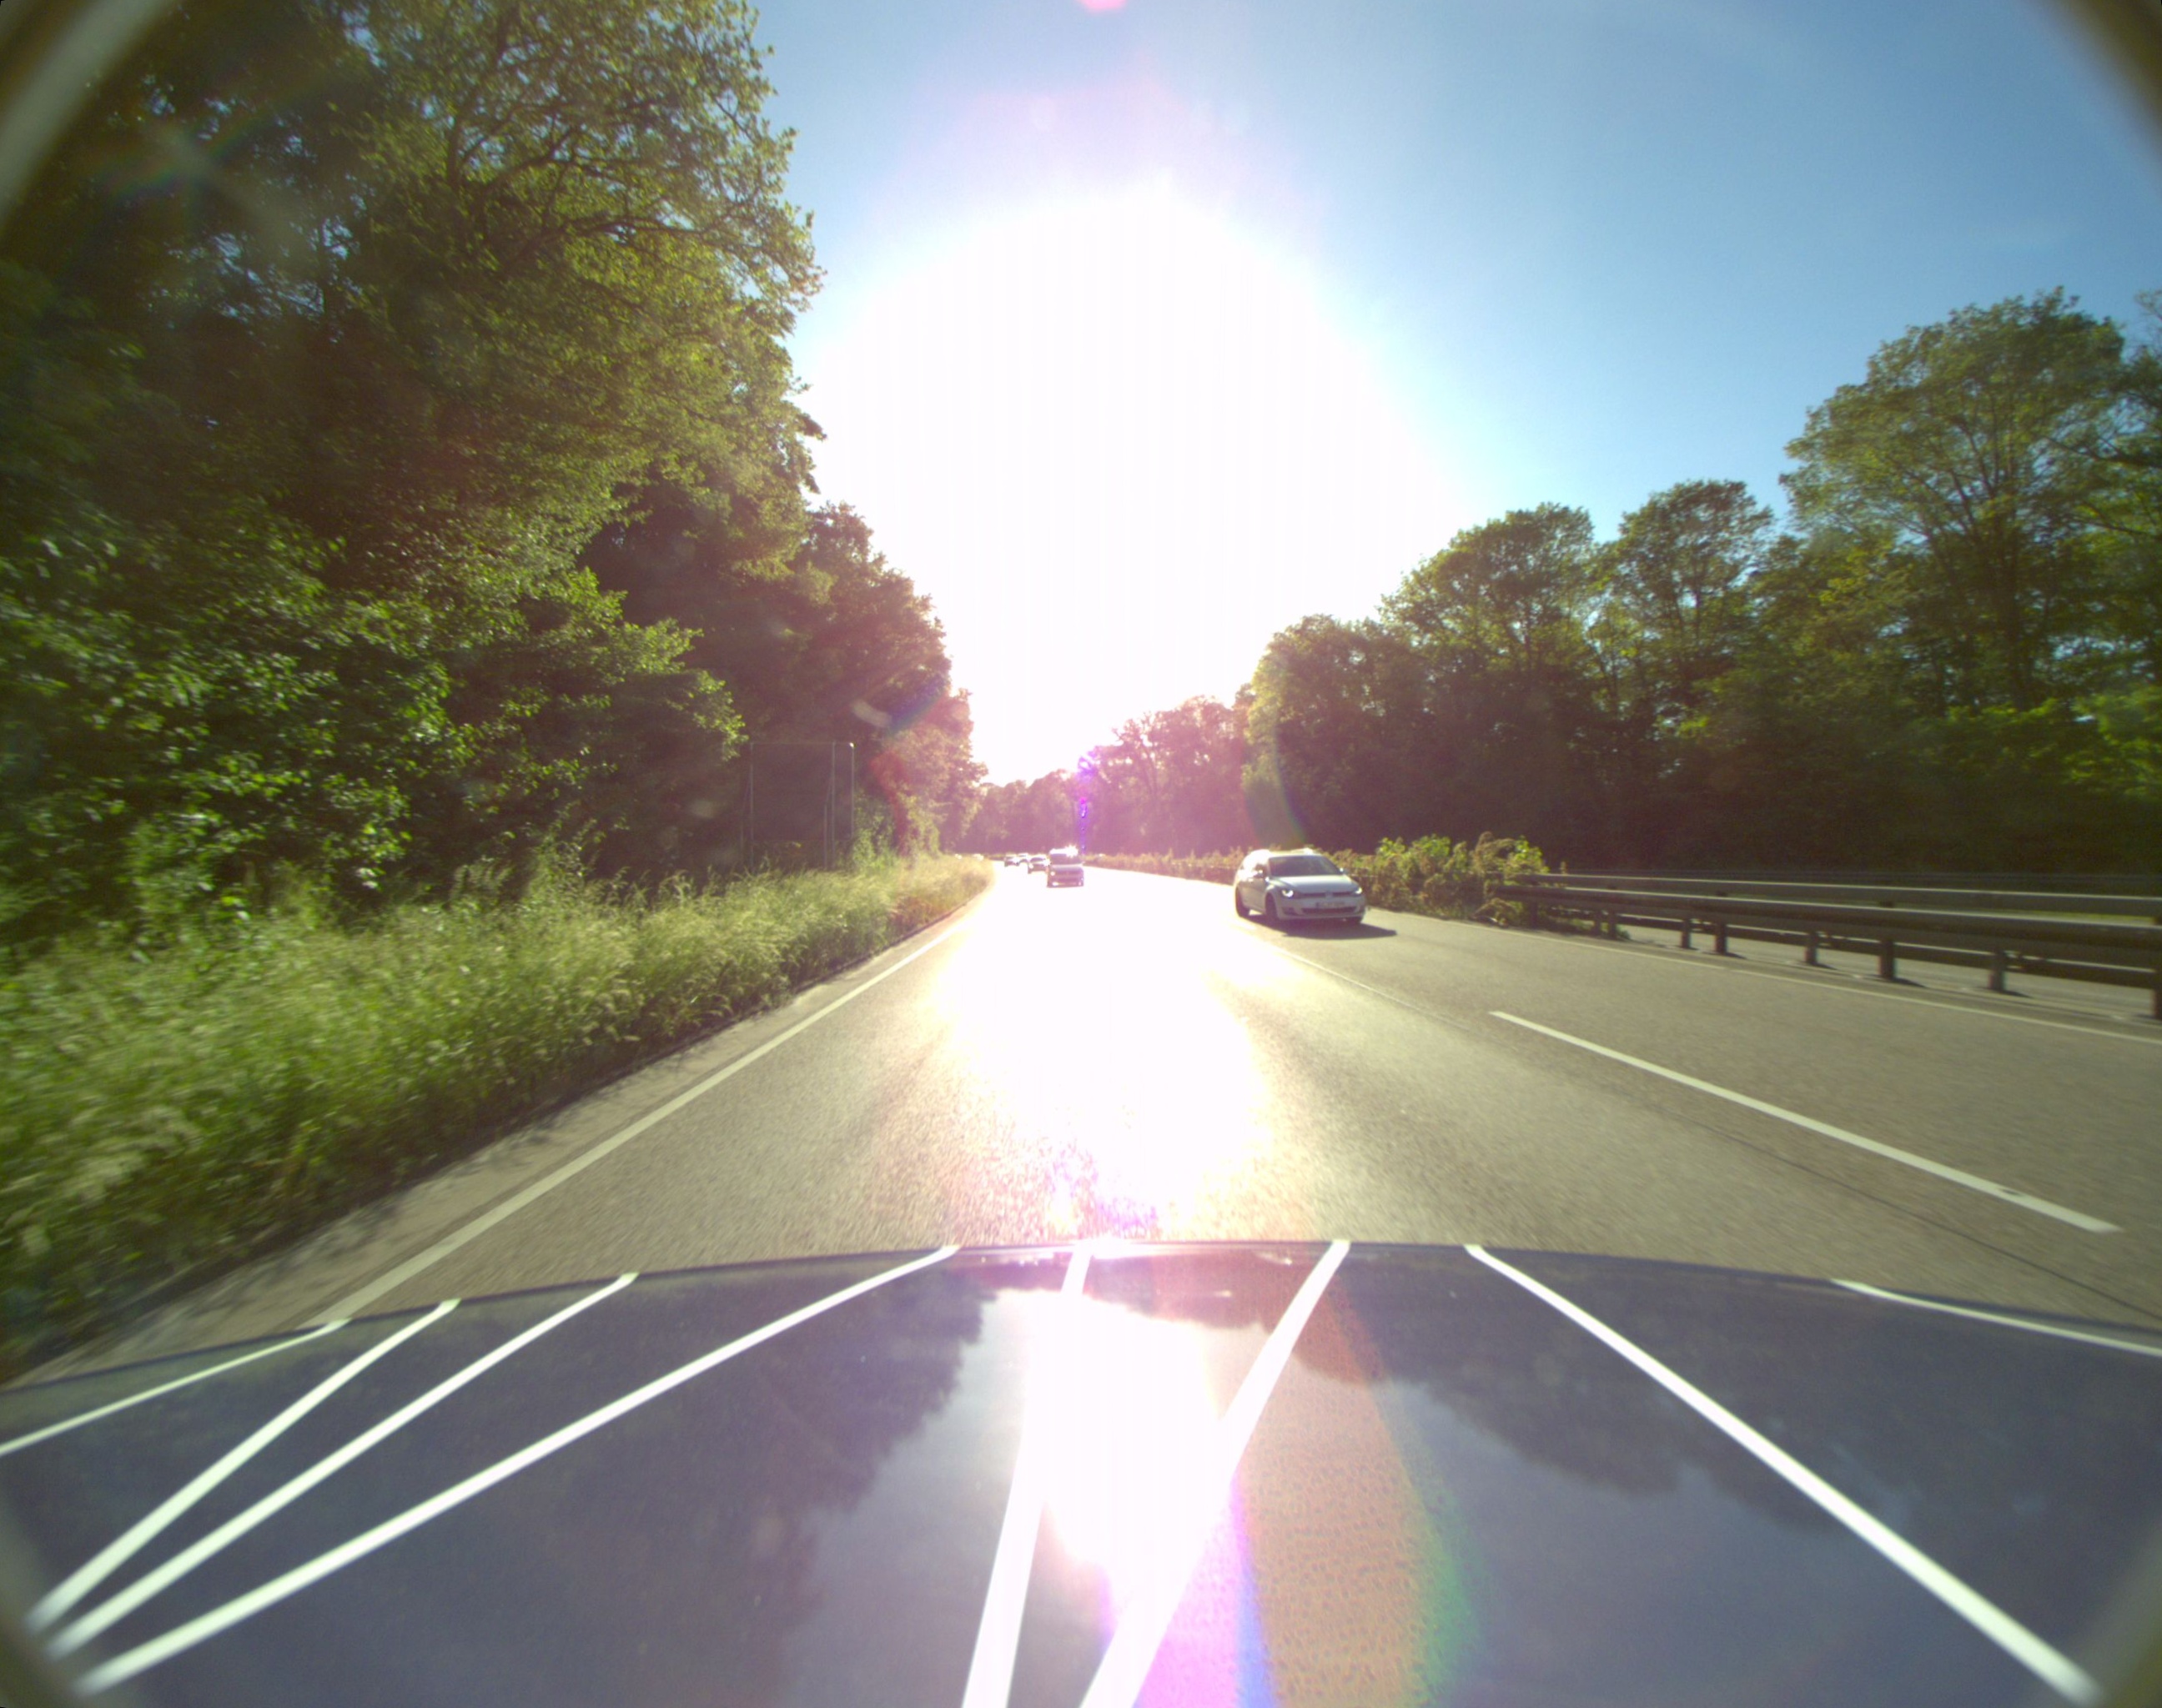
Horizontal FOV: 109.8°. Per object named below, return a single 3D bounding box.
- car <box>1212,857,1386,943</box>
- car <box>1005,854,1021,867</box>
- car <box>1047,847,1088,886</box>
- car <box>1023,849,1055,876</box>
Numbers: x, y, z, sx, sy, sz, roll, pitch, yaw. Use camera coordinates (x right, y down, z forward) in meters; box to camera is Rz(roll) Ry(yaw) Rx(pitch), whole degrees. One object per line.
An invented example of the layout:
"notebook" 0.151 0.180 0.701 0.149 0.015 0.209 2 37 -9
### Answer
"car" 4.459 0.842 16.612 1.935 1.499 5.597 -2 0 -3
"car" -8.703 0.808 97.194 1.935 1.499 5.082 -1 0 -7
"car" -0.753 0.560 38.543 1.800 1.796 4.830 -2 1 -4
"car" -3.568 0.681 63.904 2.258 1.843 5.136 -2 3 -7
